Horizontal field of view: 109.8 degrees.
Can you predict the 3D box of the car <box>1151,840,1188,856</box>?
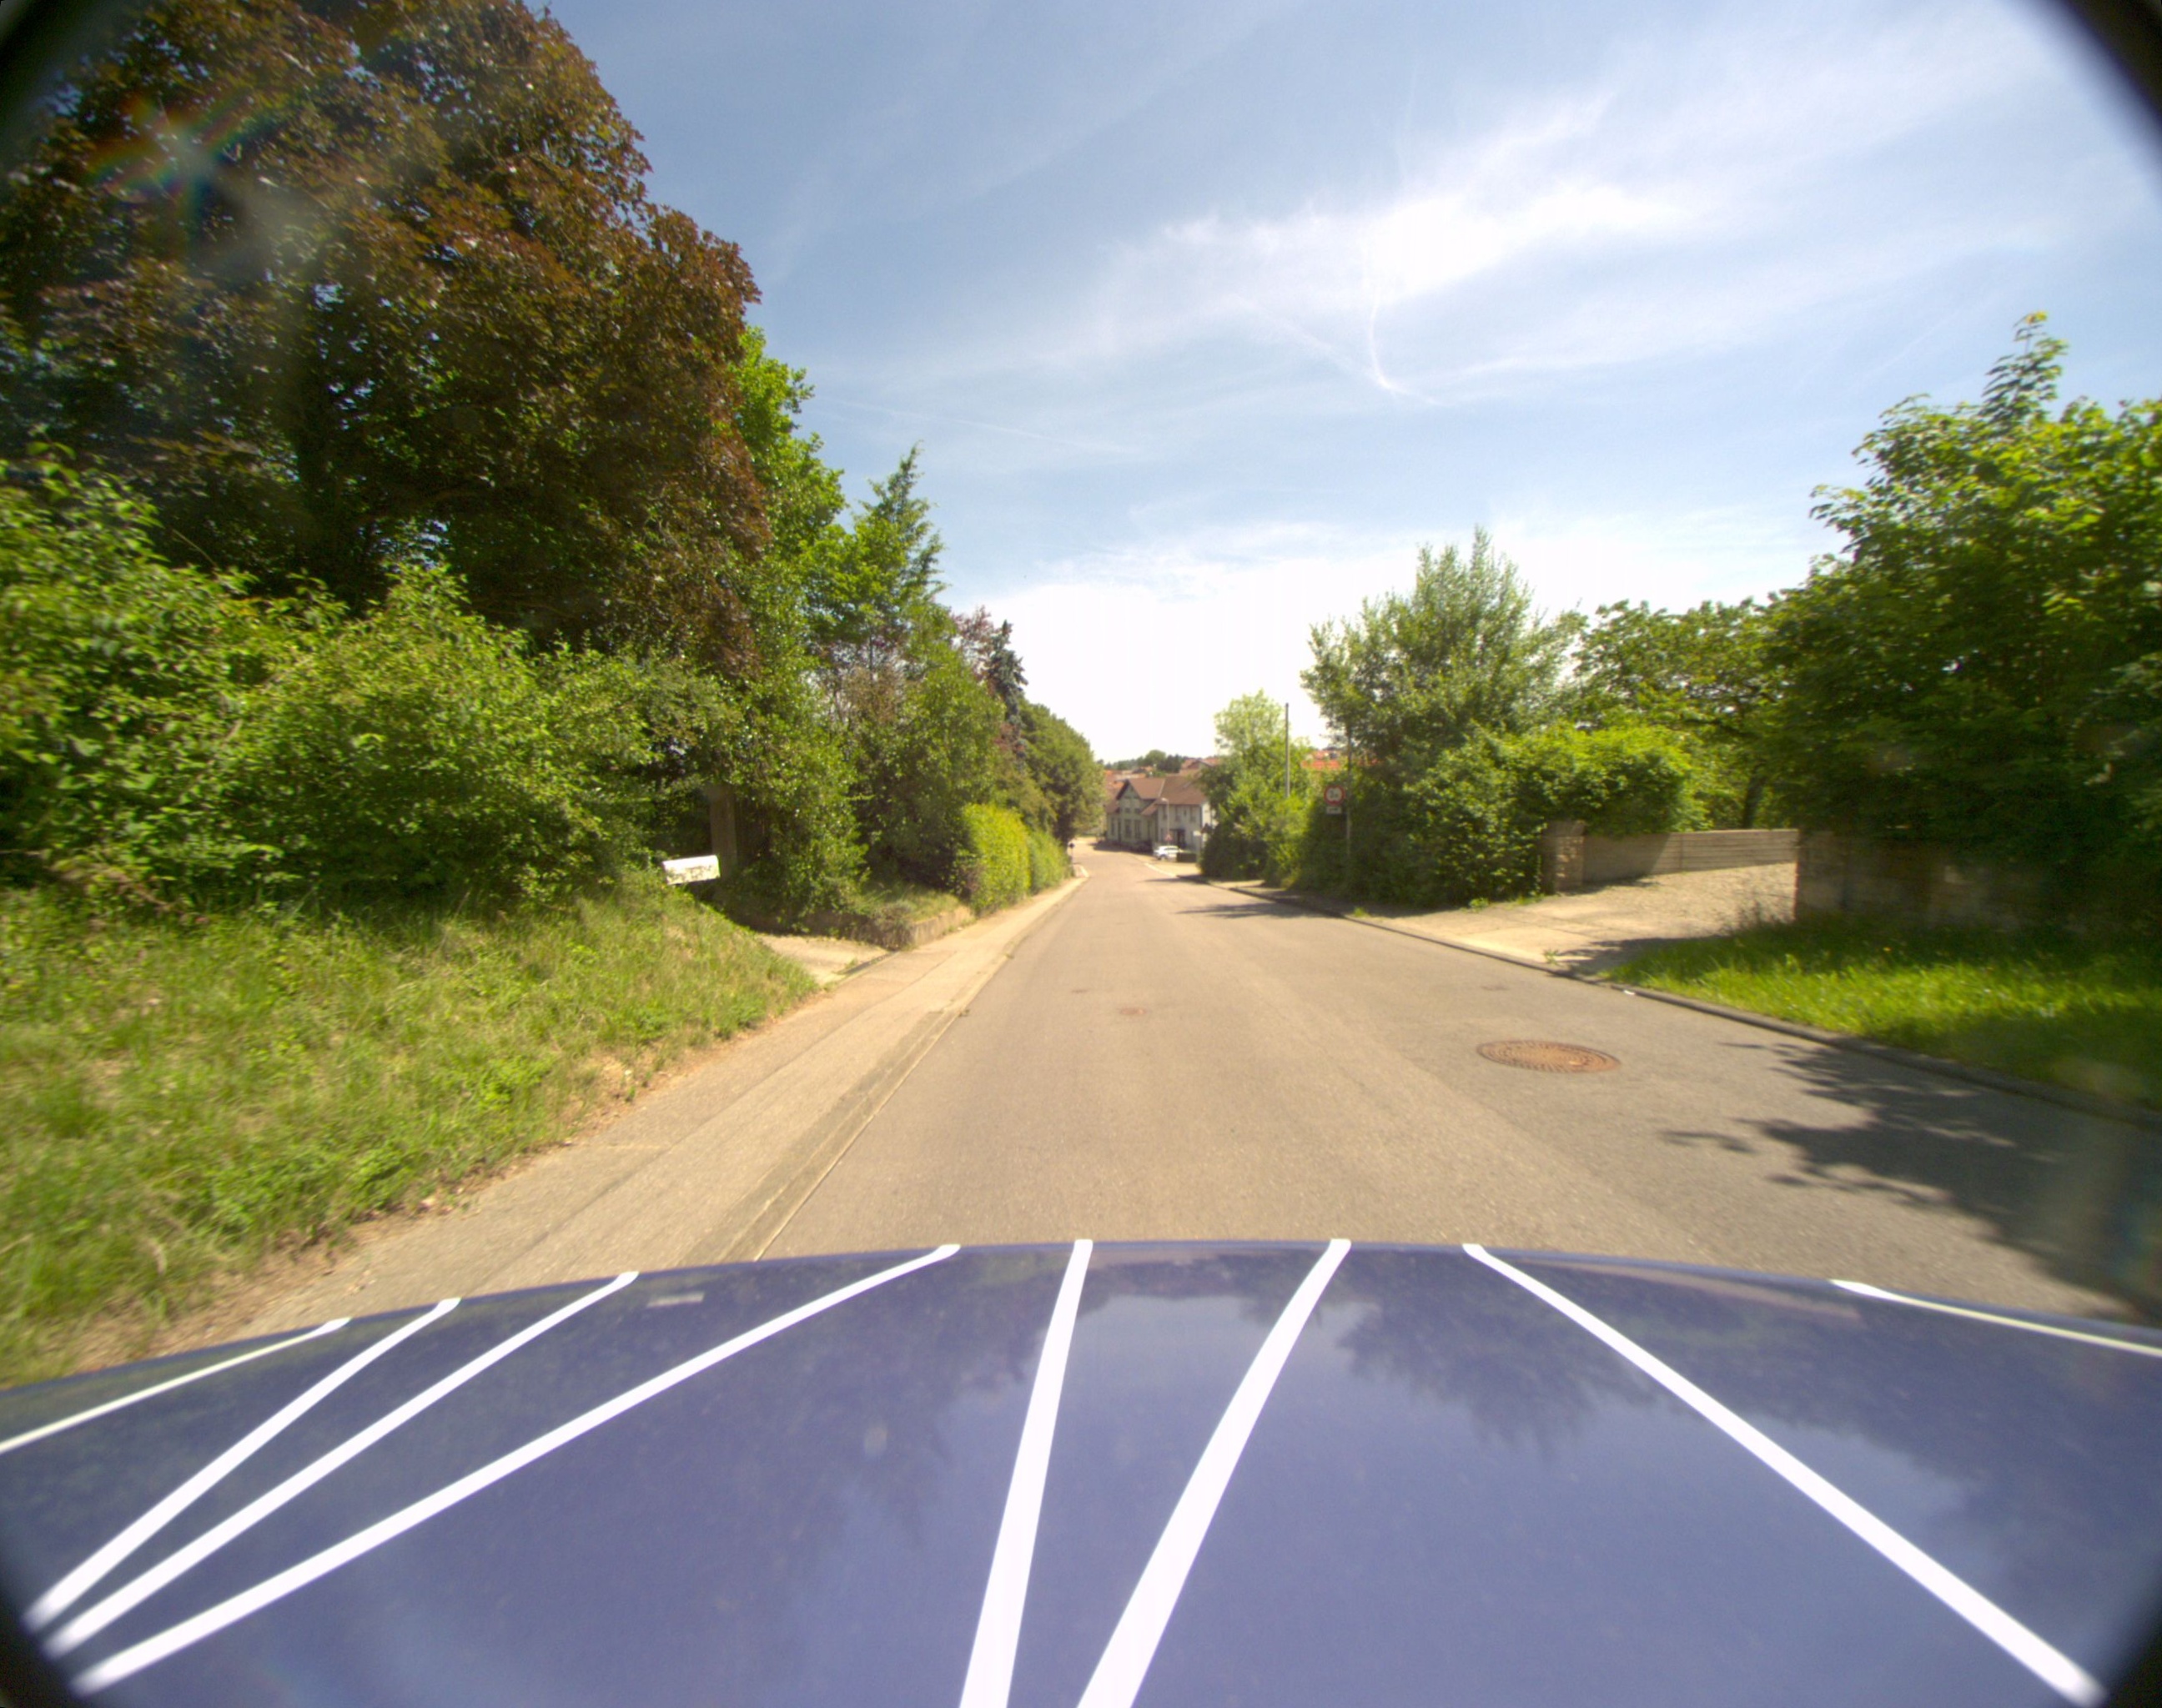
[{"bbox_3d":[9.662,-0.647,82.817,3.582,1.378,1.513,-6,3,-10],"label":"car"}]
